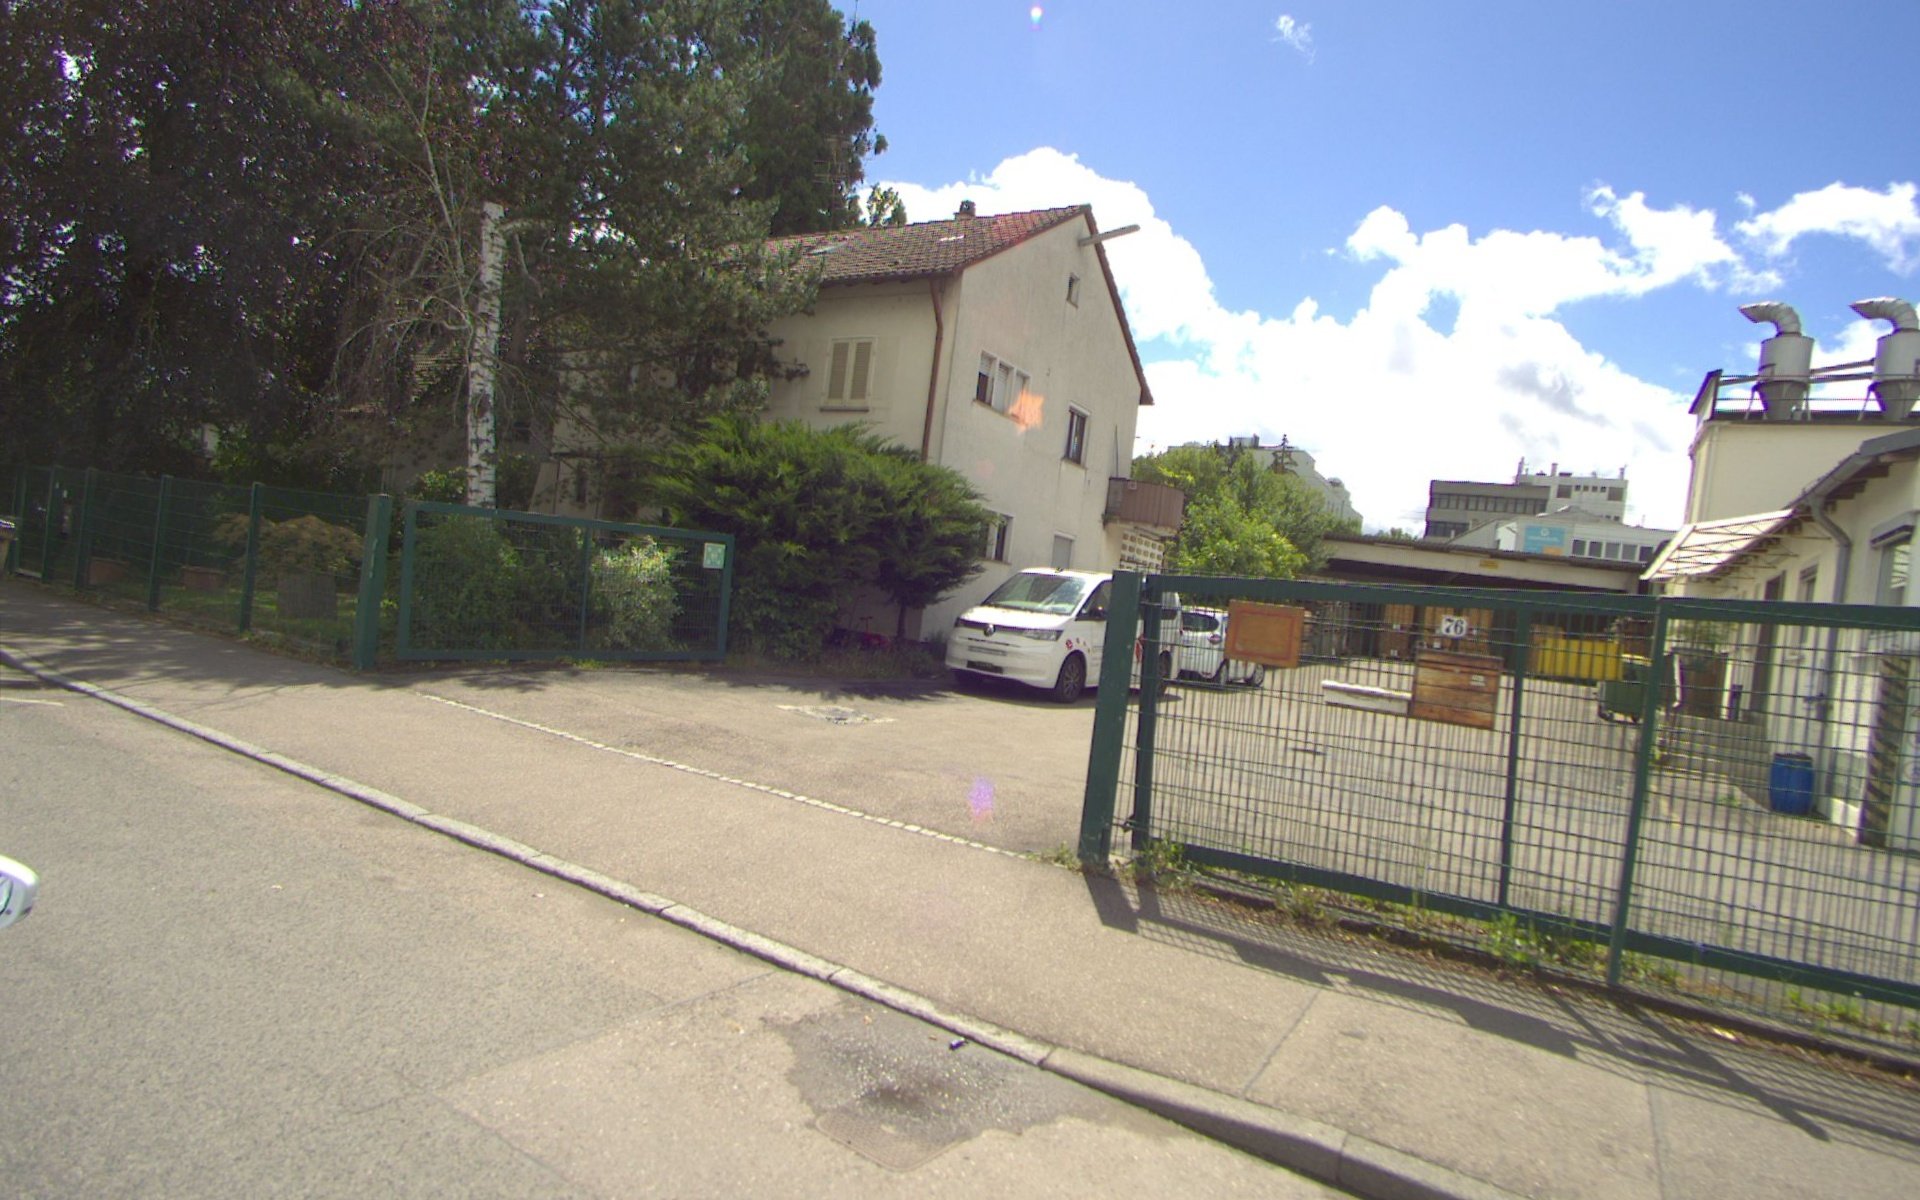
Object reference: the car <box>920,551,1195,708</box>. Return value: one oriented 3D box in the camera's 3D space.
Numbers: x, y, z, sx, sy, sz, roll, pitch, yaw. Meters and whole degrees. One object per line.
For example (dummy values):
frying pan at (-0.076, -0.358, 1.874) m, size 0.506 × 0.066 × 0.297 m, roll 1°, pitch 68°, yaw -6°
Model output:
car at (1.726, 0.510, 15.810) m, size 1.968 × 1.911 × 4.910 m, roll 8°, pitch 1°, yaw 35°

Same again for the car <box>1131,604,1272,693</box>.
car at (5.161, 1.017, 21.116) m, size 1.649 × 1.522 × 4.025 m, roll 7°, pitch 1°, yaw 30°

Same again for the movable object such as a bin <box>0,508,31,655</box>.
movable object such as a bin at (-9.493, -0.242, 9.234) m, size 1.336 × 1.308 × 1.113 m, roll 7°, pitch 2°, yaw 36°

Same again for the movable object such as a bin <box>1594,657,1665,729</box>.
movable object such as a bin at (14.582, 1.998, 21.954) m, size 1.042 × 1.366 × 1.120 m, roll 7°, pitch 3°, yaw 28°
